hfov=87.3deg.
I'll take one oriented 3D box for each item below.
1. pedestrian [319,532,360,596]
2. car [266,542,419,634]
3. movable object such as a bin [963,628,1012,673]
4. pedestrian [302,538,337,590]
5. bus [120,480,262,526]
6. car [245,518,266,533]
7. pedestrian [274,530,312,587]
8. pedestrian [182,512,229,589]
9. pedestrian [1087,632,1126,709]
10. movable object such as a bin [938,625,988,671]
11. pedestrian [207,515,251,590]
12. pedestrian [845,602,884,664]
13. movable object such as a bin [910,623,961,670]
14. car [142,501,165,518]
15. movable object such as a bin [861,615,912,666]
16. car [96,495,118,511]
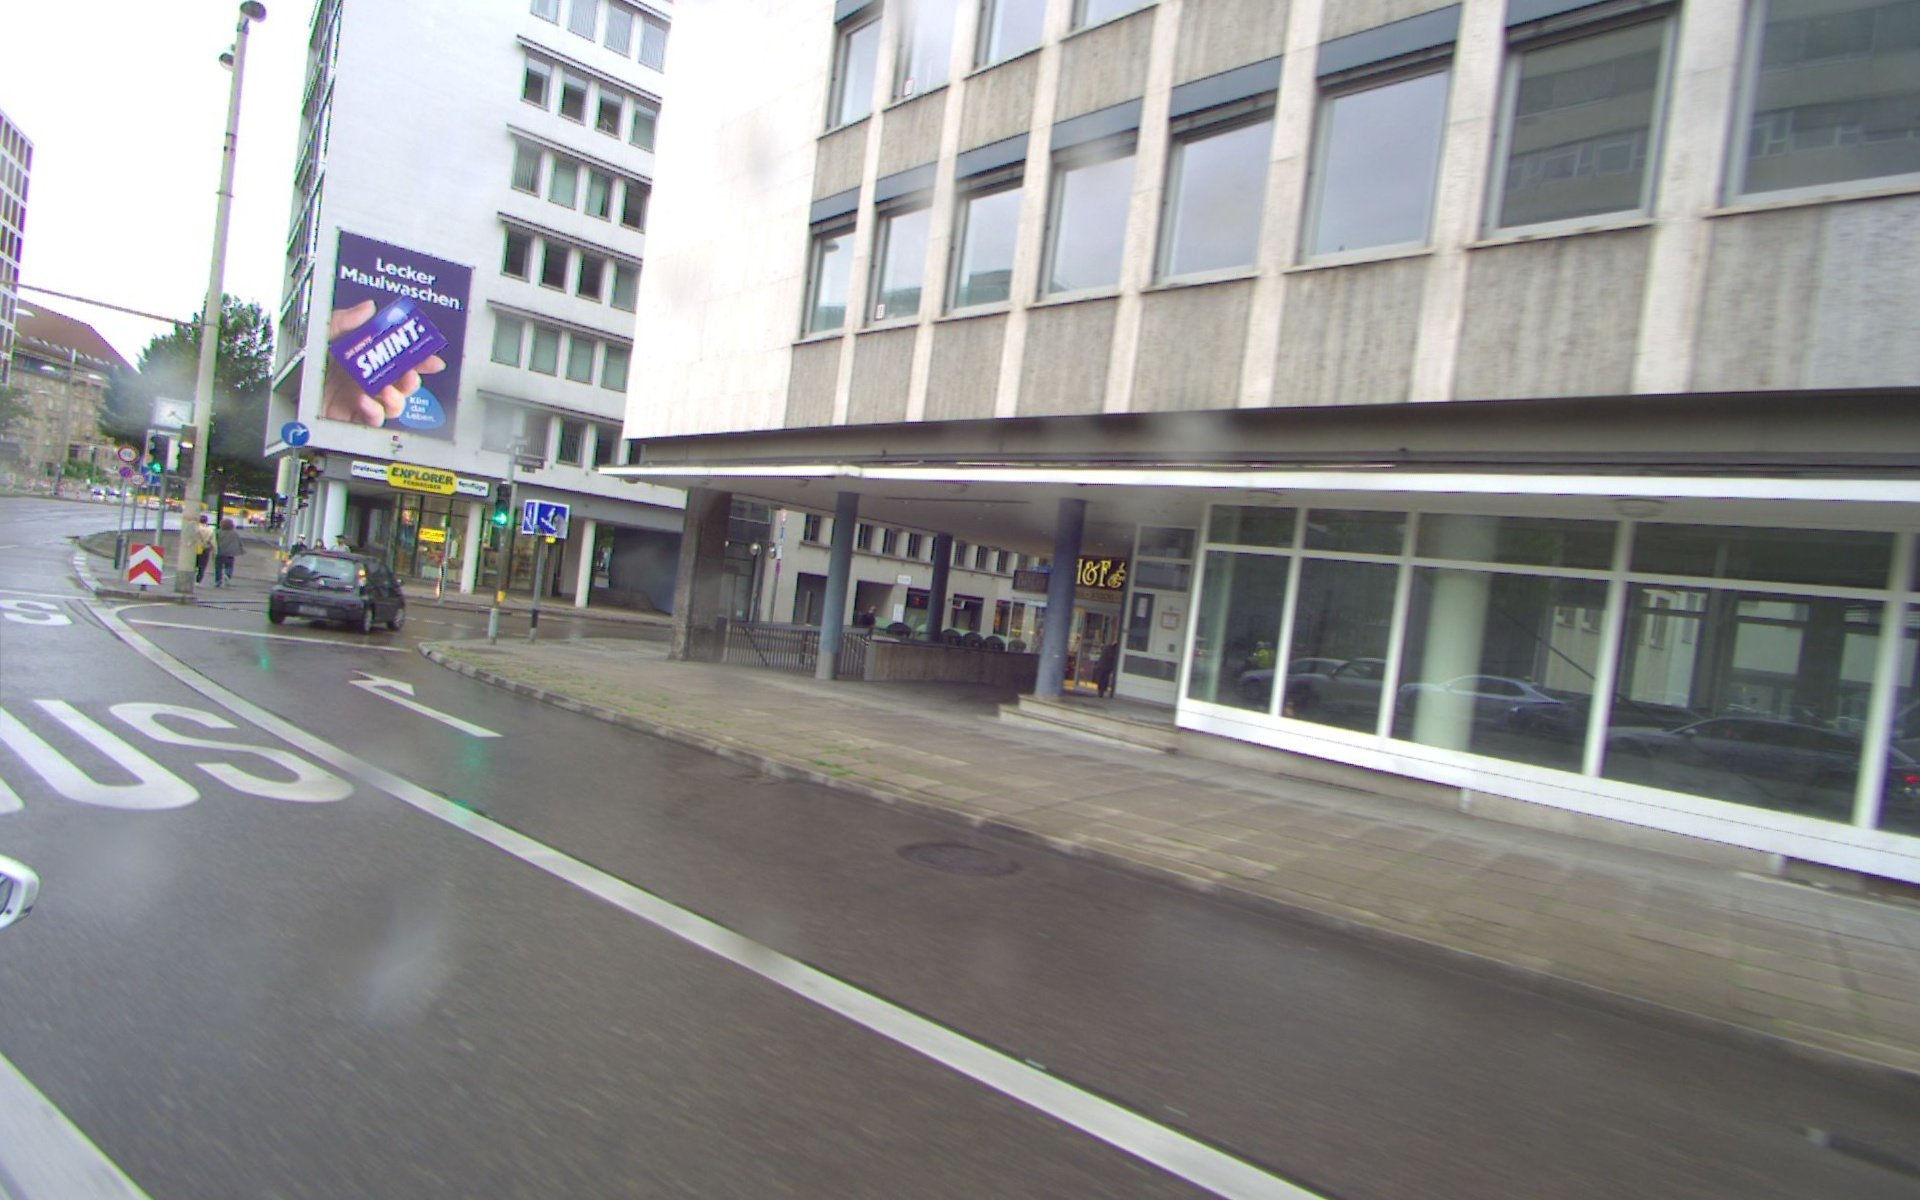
[{"bbox_3d":[-18.439,-1.058,29.903,0.660,1.815,0.771,7,0,-16],"label":"pedestrian"},{"bbox_3d":[-12.045,-0.199,19.898,1.553,1.445,3.986,7,-2,-18],"label":"car"},{"bbox_3d":[0.990,1.780,35.759,1.095,1.399,1.186,7,0,-38],"label":"movable object such as a bin"},{"bbox_3d":[-20.314,-1.140,31.911,0.616,1.561,0.651,7,0,-16],"label":"pedestrian"},{"bbox_3d":[-119.829,-15.033,157.330,16.853,4.109,4.402,9,-2,-32],"label":"bus"},{"bbox_3d":[-92.555,-9.739,132.221,1.680,1.503,3.972,8,-2,-29],"label":"car"},{"bbox_3d":[-20.897,-1.279,31.539,0.660,1.675,0.651,7,0,-16],"label":"pedestrian"},{"bbox_3d":[-18.810,-1.238,25.077,0.745,1.820,0.807,7,1,-39],"label":"pedestrian"},{"bbox_3d":[3.684,1.751,25.212,0.697,1.825,0.801,7,0,12],"label":"pedestrian"},{"bbox_3d":[0.096,1.659,35.056,1.095,1.399,1.186,7,0,-38],"label":"movable object such as a bin"},{"bbox_3d":[-19.045,-1.239,26.200,0.745,1.820,0.807,7,1,-39],"label":"pedestrian"},{"bbox_3d":[-2.850,0.995,30.094,0.589,1.752,0.768,7,0,45],"label":"pedestrian"},{"bbox_3d":[-0.839,1.590,34.306,1.095,1.399,1.186,7,0,-38],"label":"movable object such as a bin"},{"bbox_3d":[-99.413,-11.149,124.029,1.878,1.662,3.961,8,-1,-36],"label":"car"},{"bbox_3d":[-2.373,1.298,32.611,0.961,1.447,1.268,7,0,-37],"label":"movable object such as a bin"},{"bbox_3d":[-137.917,-15.661,162.632,1.980,2.037,3.967,8,-1,-32],"label":"car"}]
